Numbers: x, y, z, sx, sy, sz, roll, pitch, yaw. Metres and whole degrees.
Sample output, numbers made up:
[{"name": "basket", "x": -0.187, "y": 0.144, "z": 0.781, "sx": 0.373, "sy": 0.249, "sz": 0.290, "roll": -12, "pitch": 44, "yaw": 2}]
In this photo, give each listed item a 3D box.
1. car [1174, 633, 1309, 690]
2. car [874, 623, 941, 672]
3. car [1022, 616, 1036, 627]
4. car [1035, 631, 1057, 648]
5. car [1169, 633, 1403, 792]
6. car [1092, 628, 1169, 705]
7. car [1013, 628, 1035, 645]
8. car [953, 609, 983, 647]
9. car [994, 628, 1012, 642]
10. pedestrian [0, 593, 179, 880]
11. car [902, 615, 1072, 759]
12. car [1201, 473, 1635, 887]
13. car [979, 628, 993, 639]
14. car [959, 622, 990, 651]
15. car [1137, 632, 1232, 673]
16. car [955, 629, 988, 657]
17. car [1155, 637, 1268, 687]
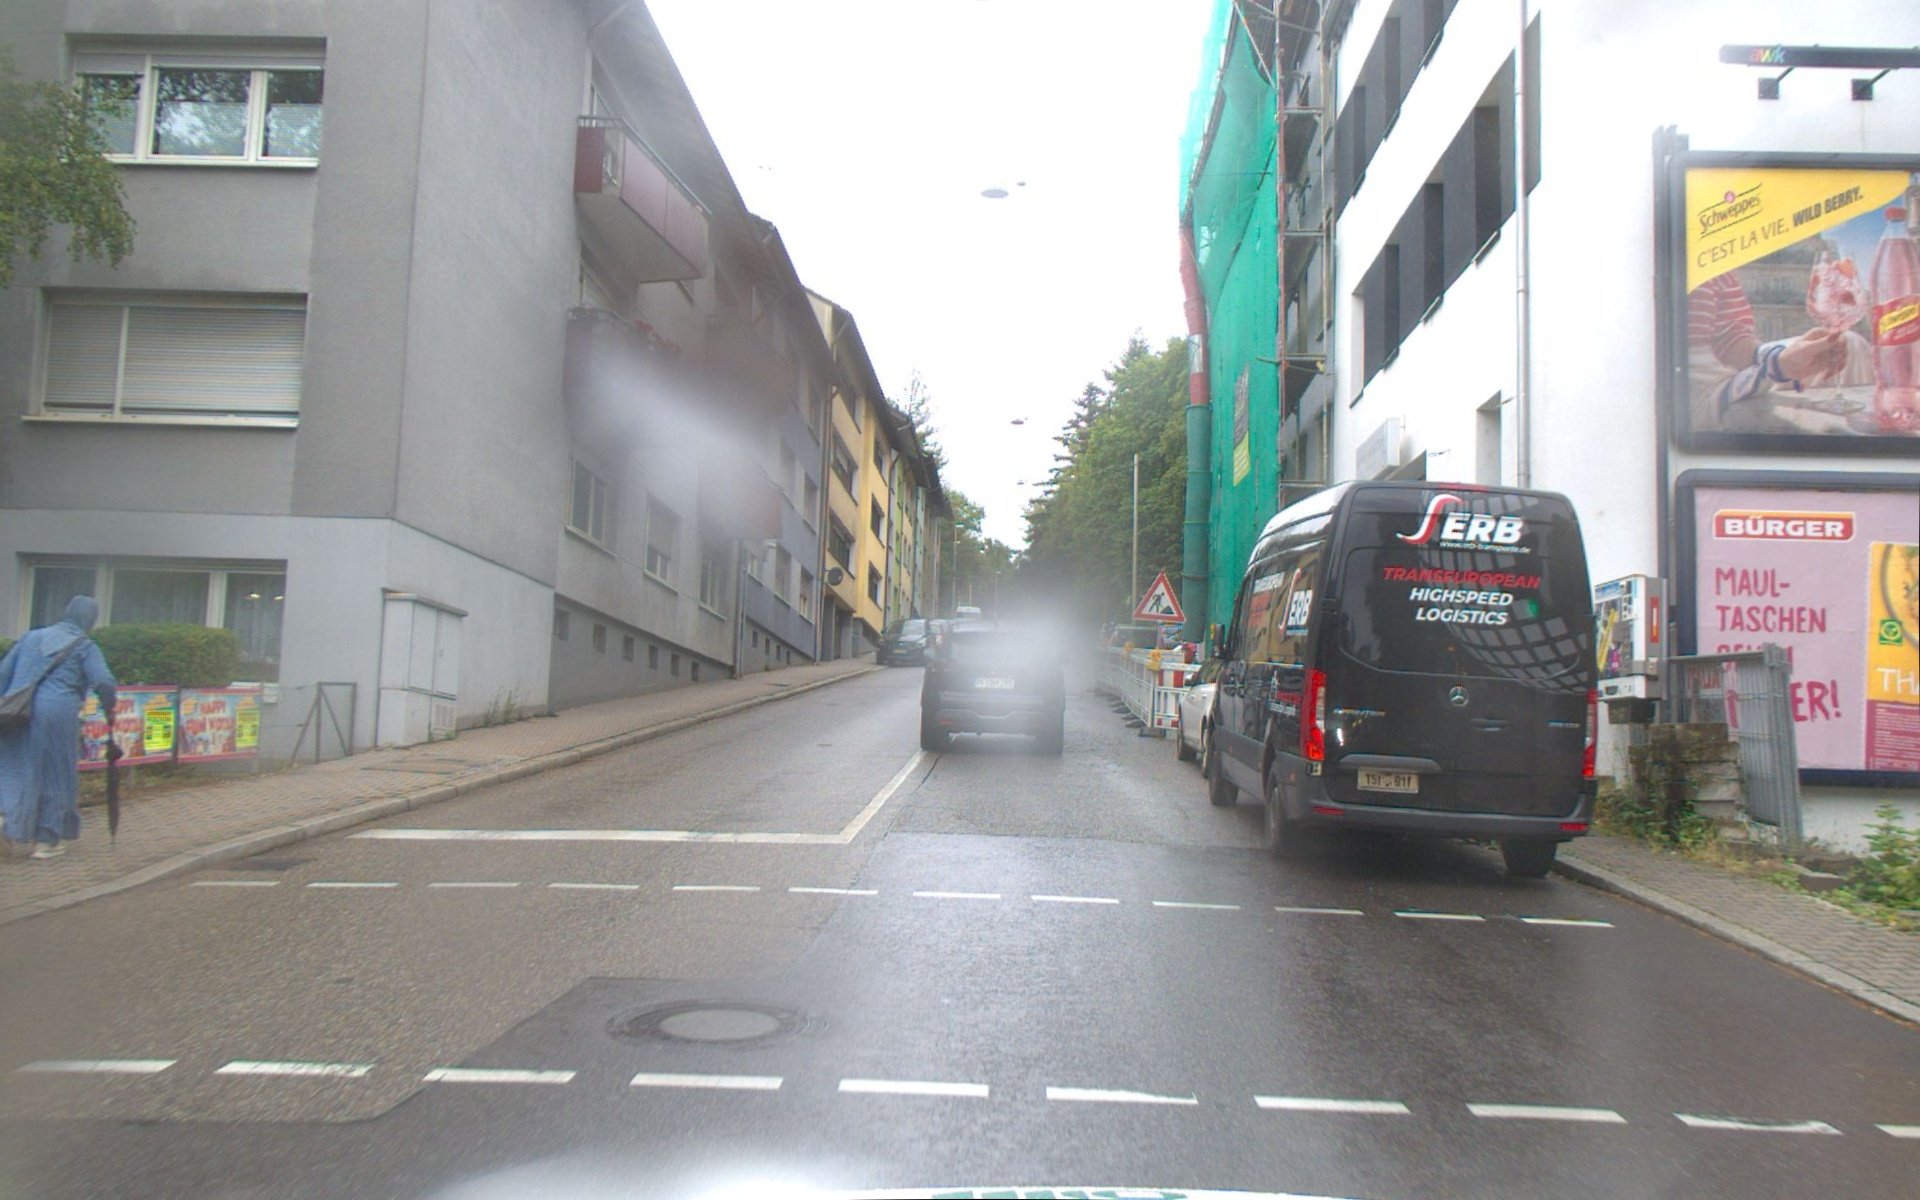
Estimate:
[{"name": "car", "x": 9.712, "y": 2.109, "z": 57.301, "sx": 4.253, "sy": 1.556, "sz": 1.877, "roll": -5, "pitch": -1, "yaw": 1}, {"name": "car", "x": -1.898, "y": 1.700, "z": 60.956, "sx": 1.951, "sy": 1.679, "sz": 4.443, "roll": 1, "pitch": -1, "yaw": 4}, {"name": "car", "x": 10.825, "y": 3.412, "z": 260.043, "sx": 1.951, "sy": 1.587, "sz": 4.001, "roll": 1, "pitch": -3, "yaw": 4}, {"name": "car", "x": 9.097, "y": 4.157, "z": 174.853, "sx": 2.032, "sy": 1.587, "sz": 3.999, "roll": 2, "pitch": -1, "yaw": -1}, {"name": "car", "x": 3.646, "y": 1.219, "z": 19.279, "sx": 1.952, "sy": 1.538, "sz": 4.338, "roll": 3, "pitch": -1, "yaw": 2}, {"name": "car", "x": 4.442, "y": 1.712, "z": 43.563, "sx": 1.606, "sy": 1.793, "sz": 4.000, "roll": 3, "pitch": 0, "yaw": 1}, {"name": "car", "x": 6.445, "y": 3.700, "z": 166.619, "sx": 2.032, "sy": 1.587, "sz": 4.000, "roll": 2, "pitch": -1, "yaw": 1}, {"name": "car", "x": 0.595, "y": 1.948, "z": 116.468, "sx": 1.949, "sy": 2.518, "sz": 5.784, "roll": 1, "pitch": -1, "yaw": 1}, {"name": "car", "x": 5.115, "y": 4.170, "z": 196.151, "sx": 2.032, "sy": 1.587, "sz": 4.000, "roll": 2, "pitch": -1, "yaw": 1}, {"name": "pedestrian", "x": -5.424, "y": 0.778, "z": 9.975, "sx": 0.851, "sy": 1.568, "sz": 1.087, "roll": 3, "pitch": 1, "yaw": -1}, {"name": "car", "x": 0.400, "y": 1.056, "z": 21.696, "sx": 1.952, "sy": 1.586, "sz": 4.001, "roll": 3, "pitch": 0, "yaw": 2}, {"name": "car", "x": 3.264, "y": 0.638, "z": 13.159, "sx": 1.952, "sy": 2.456, "sz": 5.837, "roll": 3, "pitch": -3, "yaw": 2}, {"name": "car", "x": 3.988, "y": 5.012, "z": 249.981, "sx": 2.032, "sy": 1.587, "sz": 4.000, "roll": 2, "pitch": -1, "yaw": 1}, {"name": "car", "x": 0.964, "y": 2.372, "z": 107.869, "sx": 1.949, "sy": 1.786, "sz": 4.480, "roll": 1, "pitch": -1, "yaw": 1}, {"name": "car", "x": 10.432, "y": 2.436, "z": 76.931, "sx": 4.113, "sy": 1.522, "sz": 1.760, "roll": 4, "pitch": -1, "yaw": 0}, {"name": "car", "x": 0.718, "y": 2.599, "z": 101.130, "sx": 1.949, "sy": 1.613, "sz": 4.305, "roll": 1, "pitch": -1, "yaw": 1}, {"name": "car", "x": 9.393, "y": 2.310, "z": 61.964, "sx": 3.882, "sy": 1.556, "sz": 1.692, "roll": -4, "pitch": -1, "yaw": -2}]
